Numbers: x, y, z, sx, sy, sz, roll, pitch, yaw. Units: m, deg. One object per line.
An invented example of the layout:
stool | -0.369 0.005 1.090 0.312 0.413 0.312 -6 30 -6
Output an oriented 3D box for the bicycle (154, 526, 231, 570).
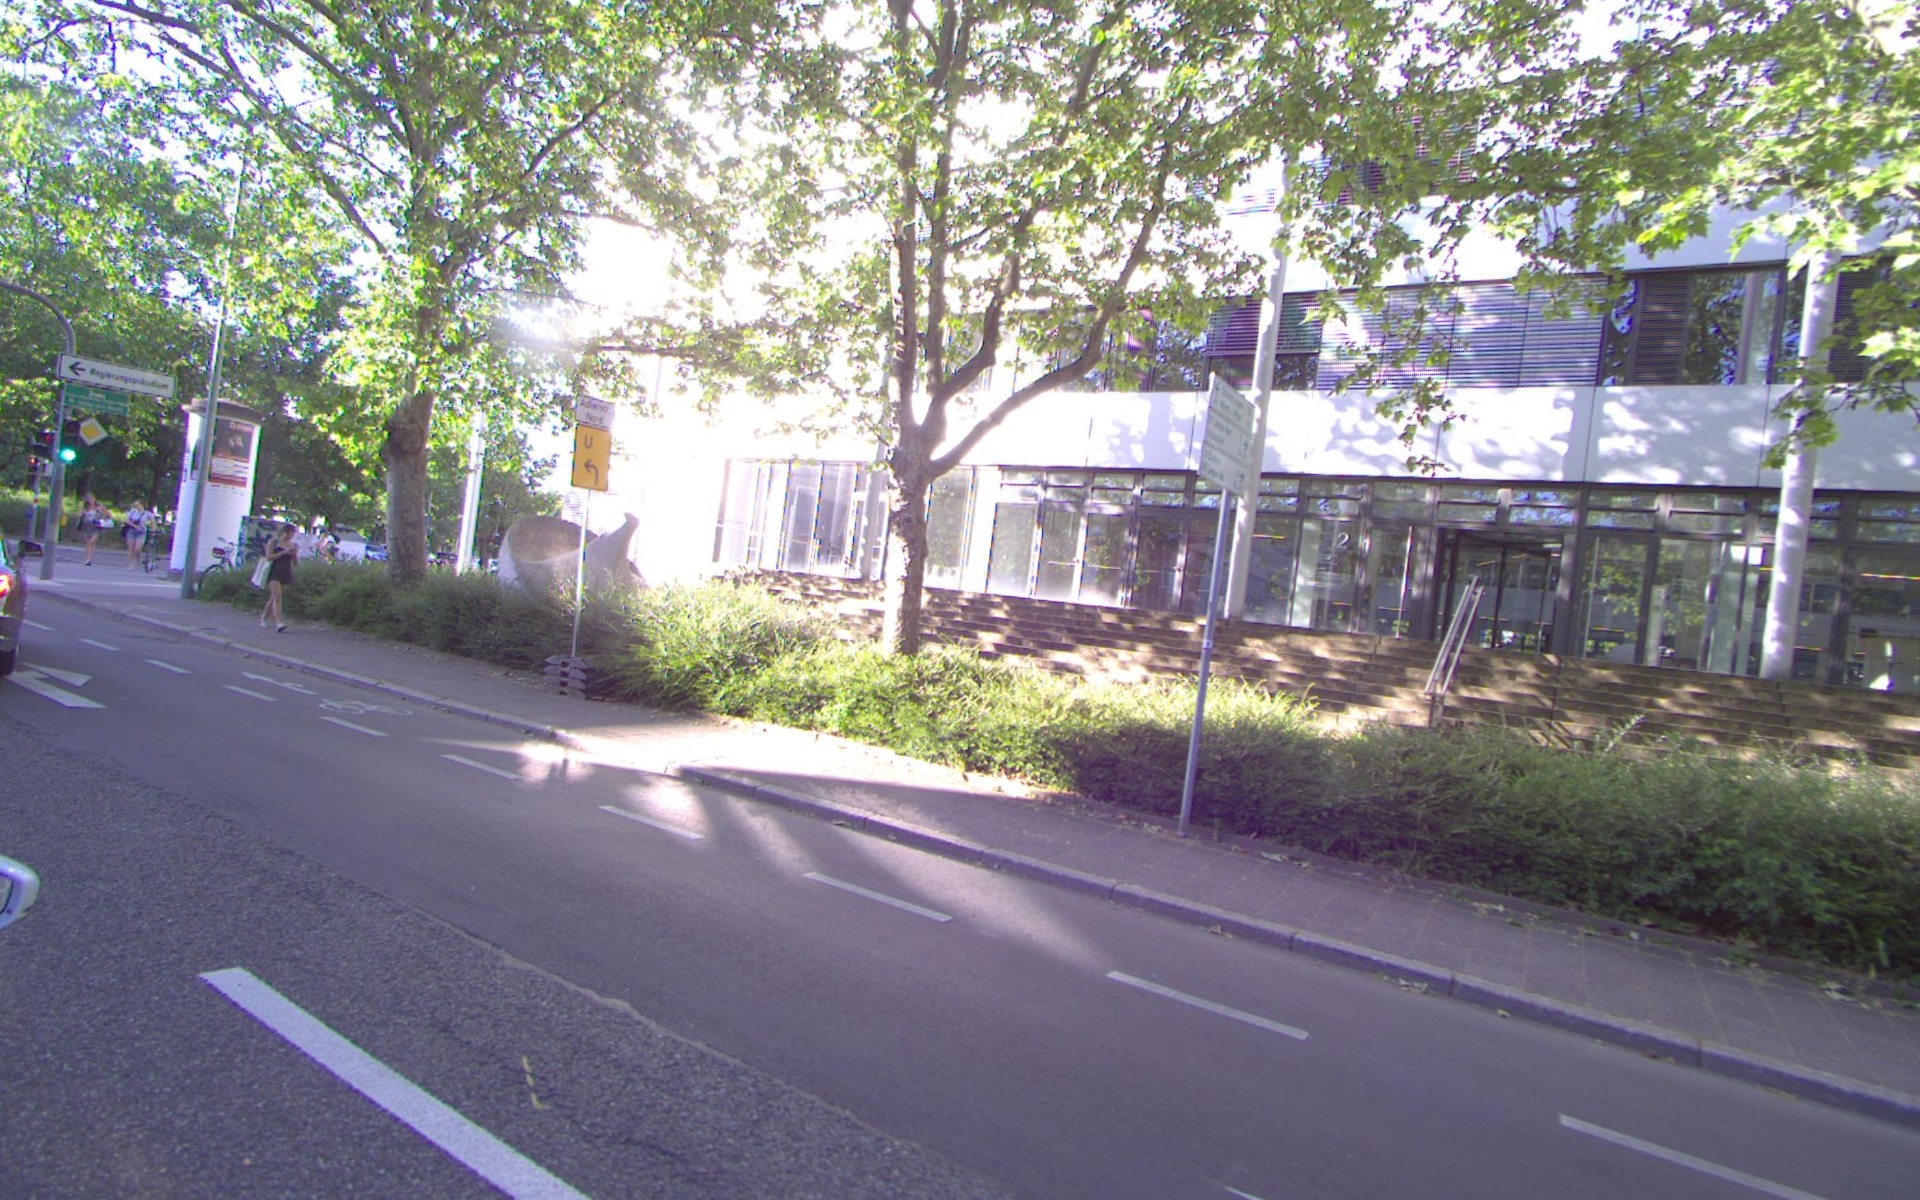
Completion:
bicycle | -27.628 -1.862 36.249 0.589 1.234 2.035 7 -2 31

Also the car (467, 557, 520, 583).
car | -34.340 -2.207 74.014 3.732 1.485 1.575 6 -2 31

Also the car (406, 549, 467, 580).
car | -33.736 -2.296 64.825 3.732 1.500 1.633 6 -2 31

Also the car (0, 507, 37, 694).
car | -9.537 -0.233 8.859 1.839 1.446 4.461 9 -2 -44

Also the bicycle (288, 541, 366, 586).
bicycle | -23.479 -1.349 37.359 0.649 1.341 2.293 7 -2 32

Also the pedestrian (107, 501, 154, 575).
pedestrian | -20.542 -1.536 24.911 0.681 1.717 0.959 8 -1 -44

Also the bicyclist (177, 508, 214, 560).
bicyclist | -27.574 -2.373 36.283 0.664 1.717 0.711 7 -1 32

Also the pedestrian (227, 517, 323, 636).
pedestrian | -10.276 -0.349 15.097 0.892 1.651 0.798 7 1 33

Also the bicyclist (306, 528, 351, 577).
bicyclist | -23.454 -1.762 37.372 0.856 1.634 0.965 7 -1 34

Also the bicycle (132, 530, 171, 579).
bicycle | -20.266 -1.152 25.192 0.523 1.113 1.720 8 -2 -43

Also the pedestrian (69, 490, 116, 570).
pedestrian | -21.210 -1.699 24.618 0.729 1.830 0.899 6 0 -41

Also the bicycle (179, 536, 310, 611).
bicycle | -14.116 -0.502 19.915 0.519 1.203 1.980 7 -2 30
